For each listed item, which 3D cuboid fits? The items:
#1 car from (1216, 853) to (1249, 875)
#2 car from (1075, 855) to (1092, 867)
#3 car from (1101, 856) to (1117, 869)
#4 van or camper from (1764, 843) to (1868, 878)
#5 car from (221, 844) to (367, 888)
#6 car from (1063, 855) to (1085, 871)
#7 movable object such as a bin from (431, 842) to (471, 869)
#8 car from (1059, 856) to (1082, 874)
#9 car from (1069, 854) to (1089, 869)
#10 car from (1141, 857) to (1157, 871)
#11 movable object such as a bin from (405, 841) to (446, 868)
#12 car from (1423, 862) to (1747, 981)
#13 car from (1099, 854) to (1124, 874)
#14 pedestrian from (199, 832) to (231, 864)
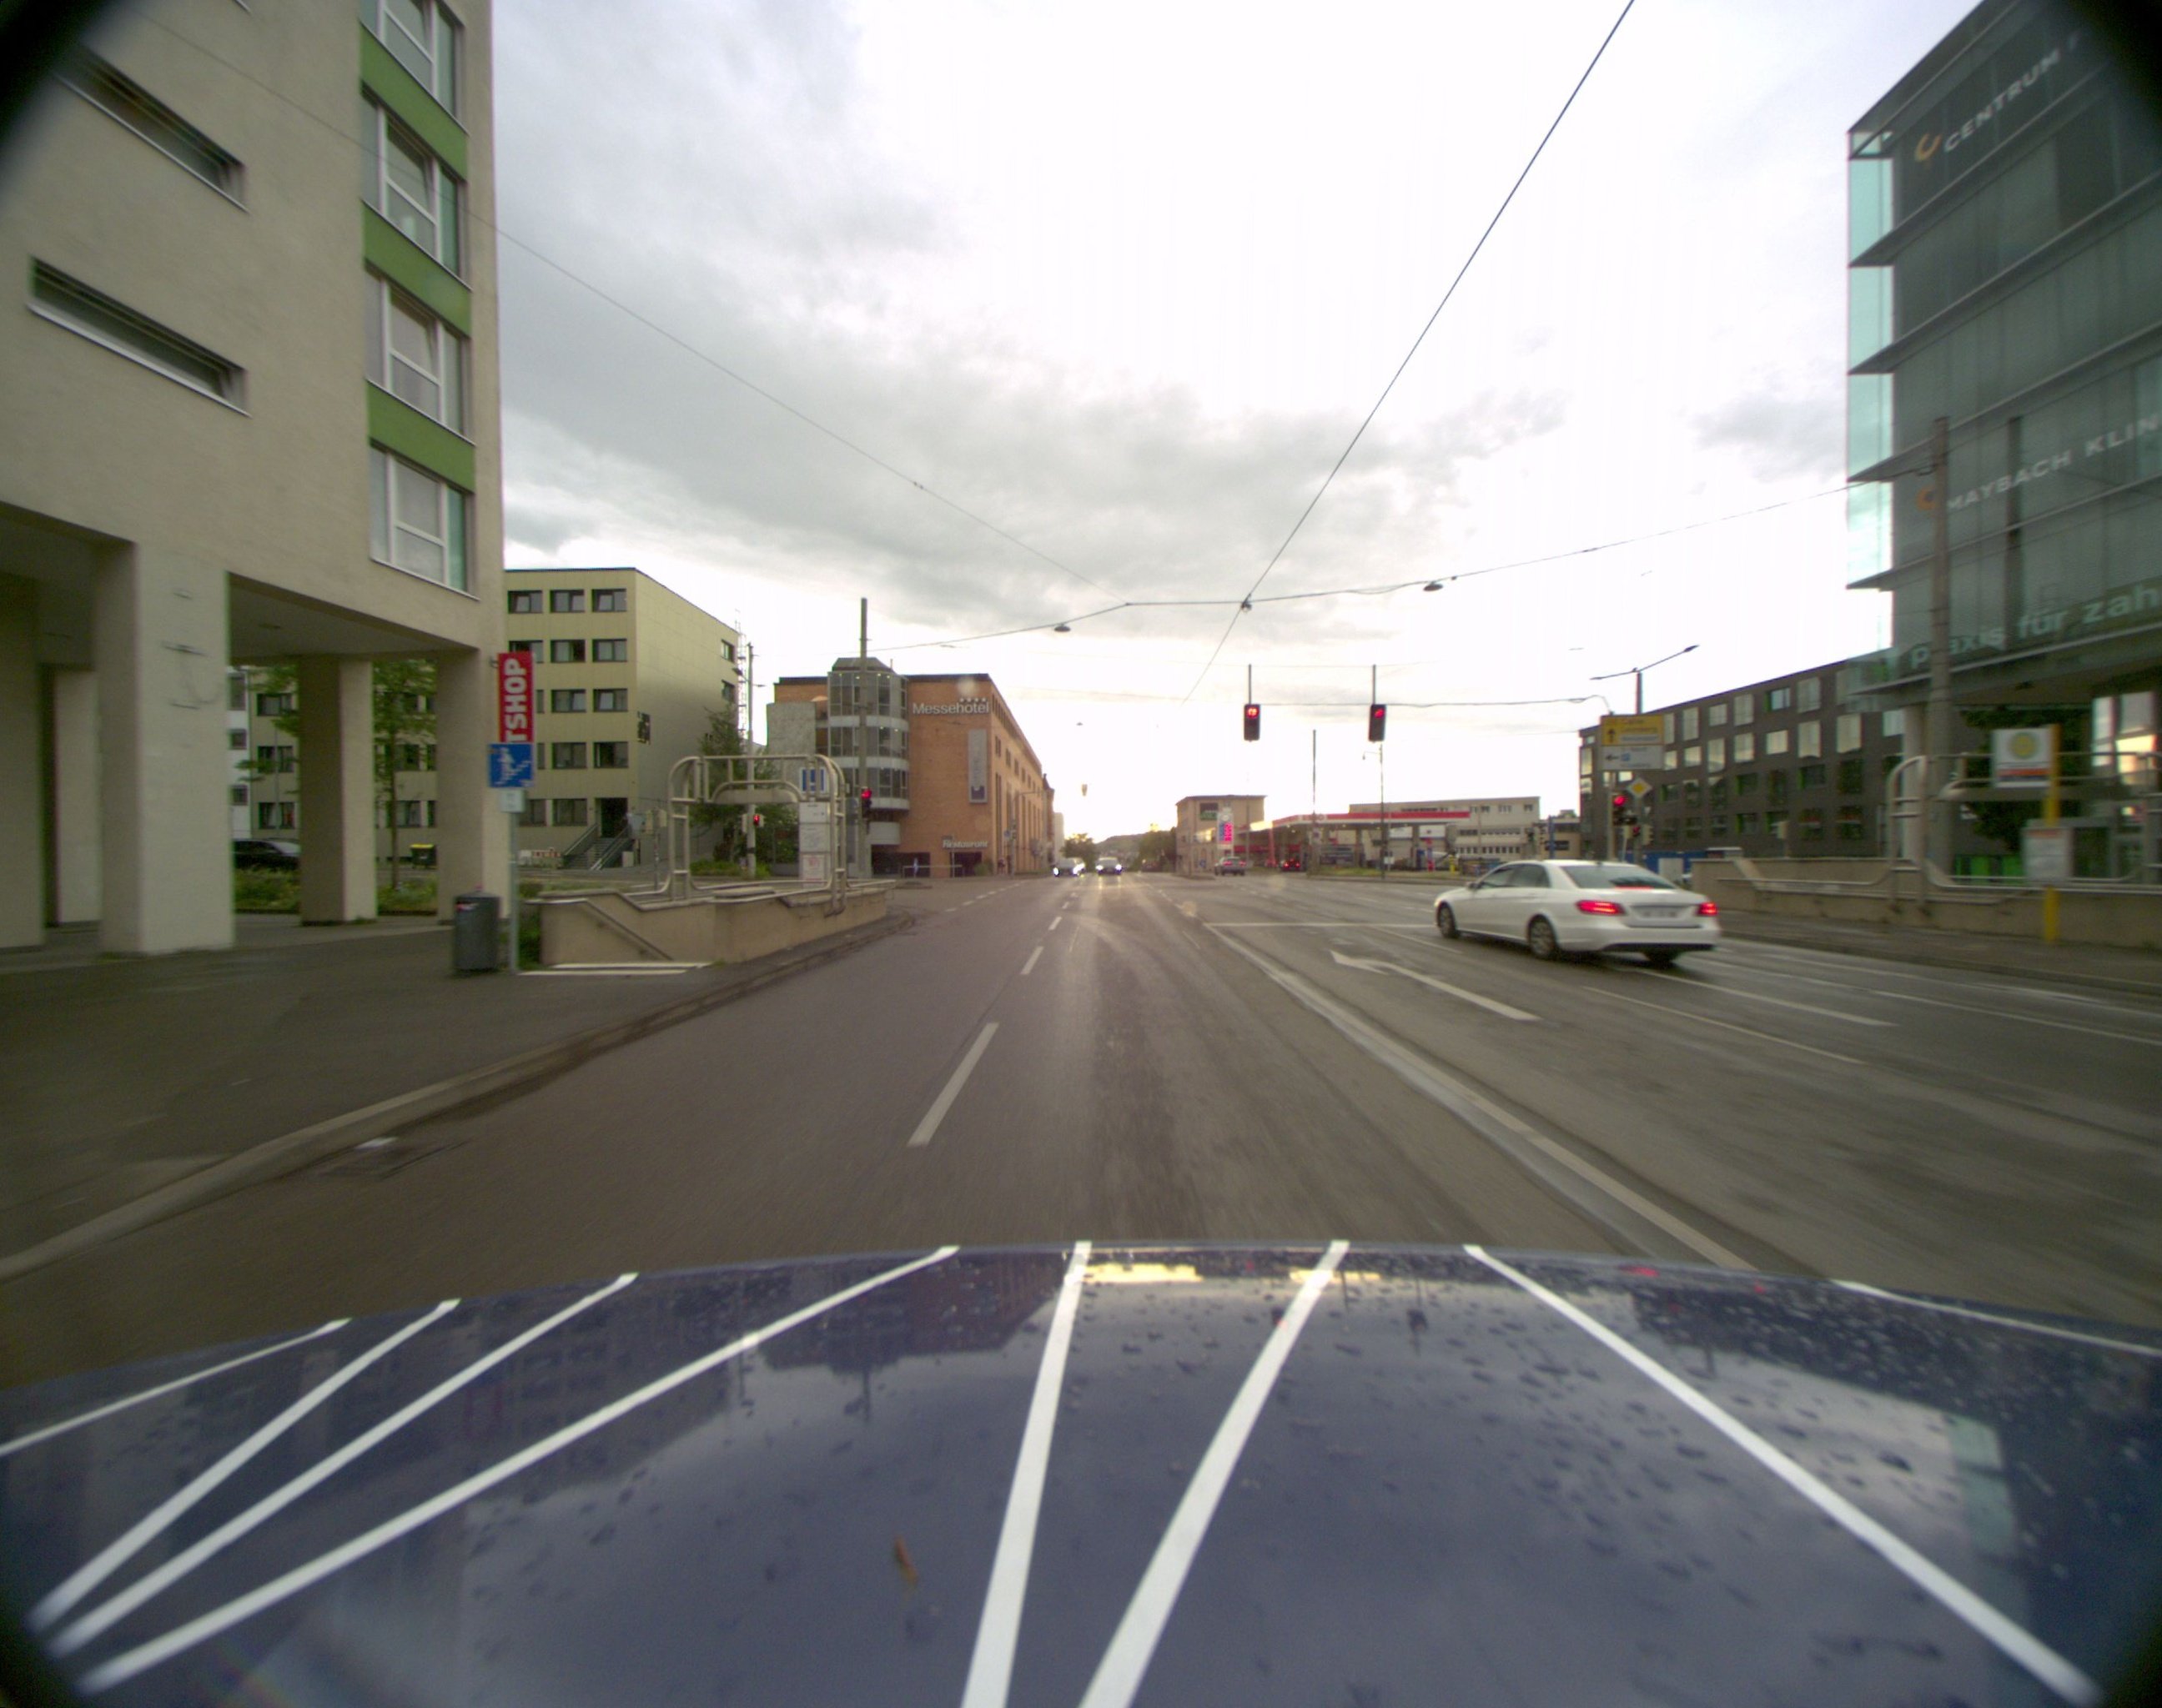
[{"bbox_3d":[12.950,0.809,65.289,1.913,1.623,4.208,2,2,0],"label":"car"},{"bbox_3d":[0.344,0.784,90.273,1.696,1.392,4.089,-1,0,4],"label":"car"},{"bbox_3d":[3.096,0.935,83.222,1.696,1.392,4.089,0,0,4],"label":"car"},{"bbox_3d":[56.202,0.451,58.295,2.737,2.356,5.345,2,2,1],"label":"van or camper"},{"bbox_3d":[-31.833,0.465,30.815,3.995,1.565,2.000,2,3,4],"label":"car"},{"bbox_3d":[-0.589,0.774,68.053,1.696,1.392,4.089,-1,0,4],"label":"car"},{"bbox_3d":[-36.035,0.063,43.473,1.357,1.438,1.057,2,3,4],"label":"movable object such as a bin"},{"bbox_3d":[-0.807,0.886,60.799,1.649,1.313,4.000,-1,0,2],"label":"car"},{"bbox_3d":[-0.156,0.746,75.379,1.696,1.392,4.089,-1,0,4],"label":"car"},{"bbox_3d":[9.491,1.377,106.154,1.857,1.758,4.131,1,1,2],"label":"car"},{"bbox_3d":[-37.600,0.039,43.615,1.429,1.438,1.057,2,3,4],"label":"movable object such as a bin"},{"bbox_3d":[7.375,0.872,11.924,1.822,1.379,4.963,0,1,1],"label":"car"},{"bbox_3d":[2.450,0.785,61.773,1.964,1.516,4.262,-2,0,1],"label":"car"},{"bbox_3d":[-49.353,-0.349,43.292,0.941,1.722,0.757,2,3,3],"label":"pedestrian"}]
